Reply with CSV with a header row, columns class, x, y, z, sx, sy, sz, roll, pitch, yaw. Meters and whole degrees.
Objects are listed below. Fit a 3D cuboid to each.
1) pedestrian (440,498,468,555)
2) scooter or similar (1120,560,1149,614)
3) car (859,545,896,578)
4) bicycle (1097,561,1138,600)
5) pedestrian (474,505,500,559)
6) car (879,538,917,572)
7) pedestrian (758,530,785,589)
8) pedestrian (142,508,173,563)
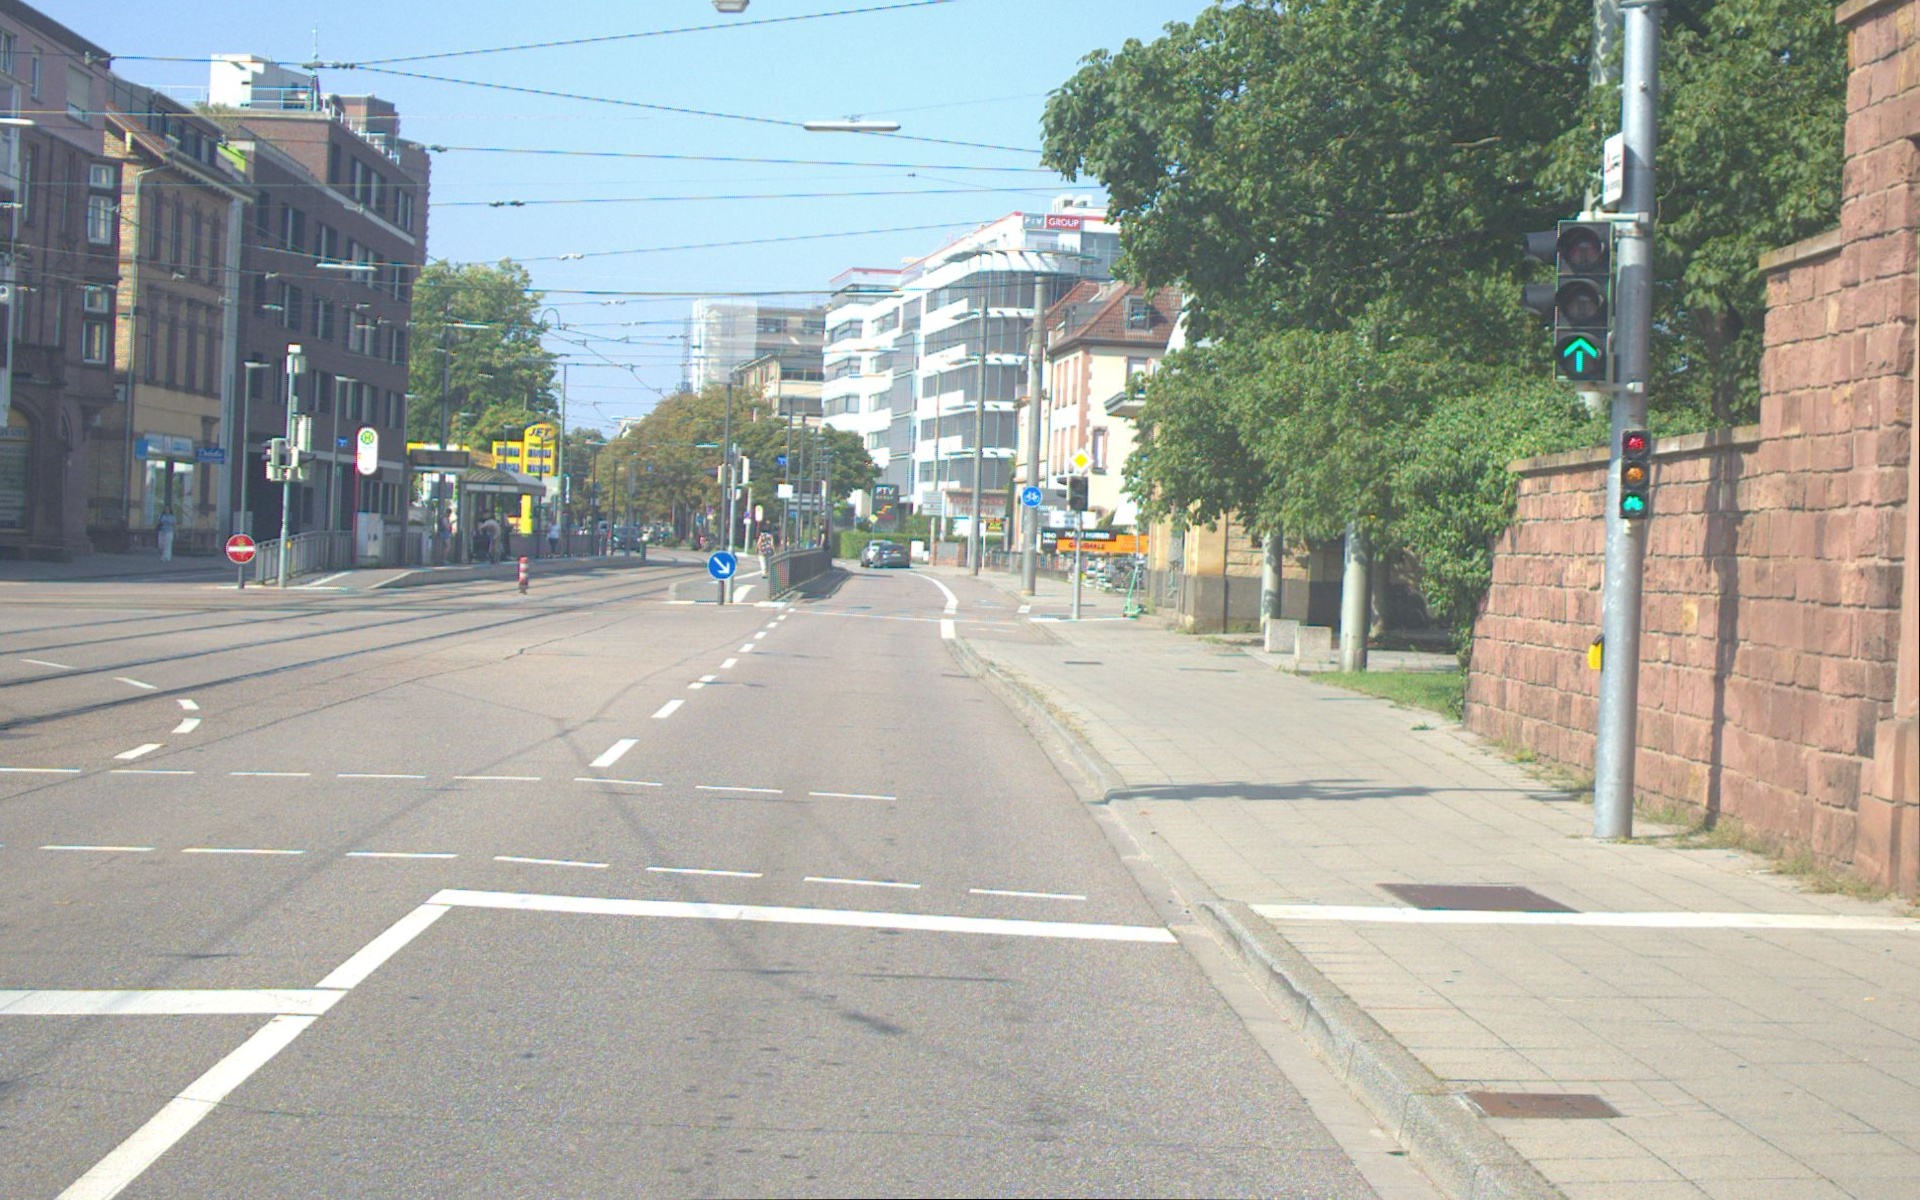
class,x,y,z,sx,sy,sz,roll,pitch,yaw
pedestrian,-15.185,-2.209,103.271,0.708,1.717,0.799,1,1,0
scooter or similar,3.697,-0.289,73.039,0.523,1.129,1.511,1,1,0
car,-4.794,-2.260,200.661,2.011,1.852,4.000,1,1,0
bicycle,4.820,-0.605,105.218,0.731,1.129,2.840,-1,1,-8
pedestrian,-15.292,-2.196,111.110,0.708,1.741,0.799,1,1,0
car,-3.480,-2.552,194.485,2.011,1.852,4.000,1,1,0
pedestrian,-5.527,-1.194,100.829,0.720,1.697,0.884,1,1,0
pedestrian,-23.548,-1.885,100.886,0.483,1.554,0.886,4,0,10
